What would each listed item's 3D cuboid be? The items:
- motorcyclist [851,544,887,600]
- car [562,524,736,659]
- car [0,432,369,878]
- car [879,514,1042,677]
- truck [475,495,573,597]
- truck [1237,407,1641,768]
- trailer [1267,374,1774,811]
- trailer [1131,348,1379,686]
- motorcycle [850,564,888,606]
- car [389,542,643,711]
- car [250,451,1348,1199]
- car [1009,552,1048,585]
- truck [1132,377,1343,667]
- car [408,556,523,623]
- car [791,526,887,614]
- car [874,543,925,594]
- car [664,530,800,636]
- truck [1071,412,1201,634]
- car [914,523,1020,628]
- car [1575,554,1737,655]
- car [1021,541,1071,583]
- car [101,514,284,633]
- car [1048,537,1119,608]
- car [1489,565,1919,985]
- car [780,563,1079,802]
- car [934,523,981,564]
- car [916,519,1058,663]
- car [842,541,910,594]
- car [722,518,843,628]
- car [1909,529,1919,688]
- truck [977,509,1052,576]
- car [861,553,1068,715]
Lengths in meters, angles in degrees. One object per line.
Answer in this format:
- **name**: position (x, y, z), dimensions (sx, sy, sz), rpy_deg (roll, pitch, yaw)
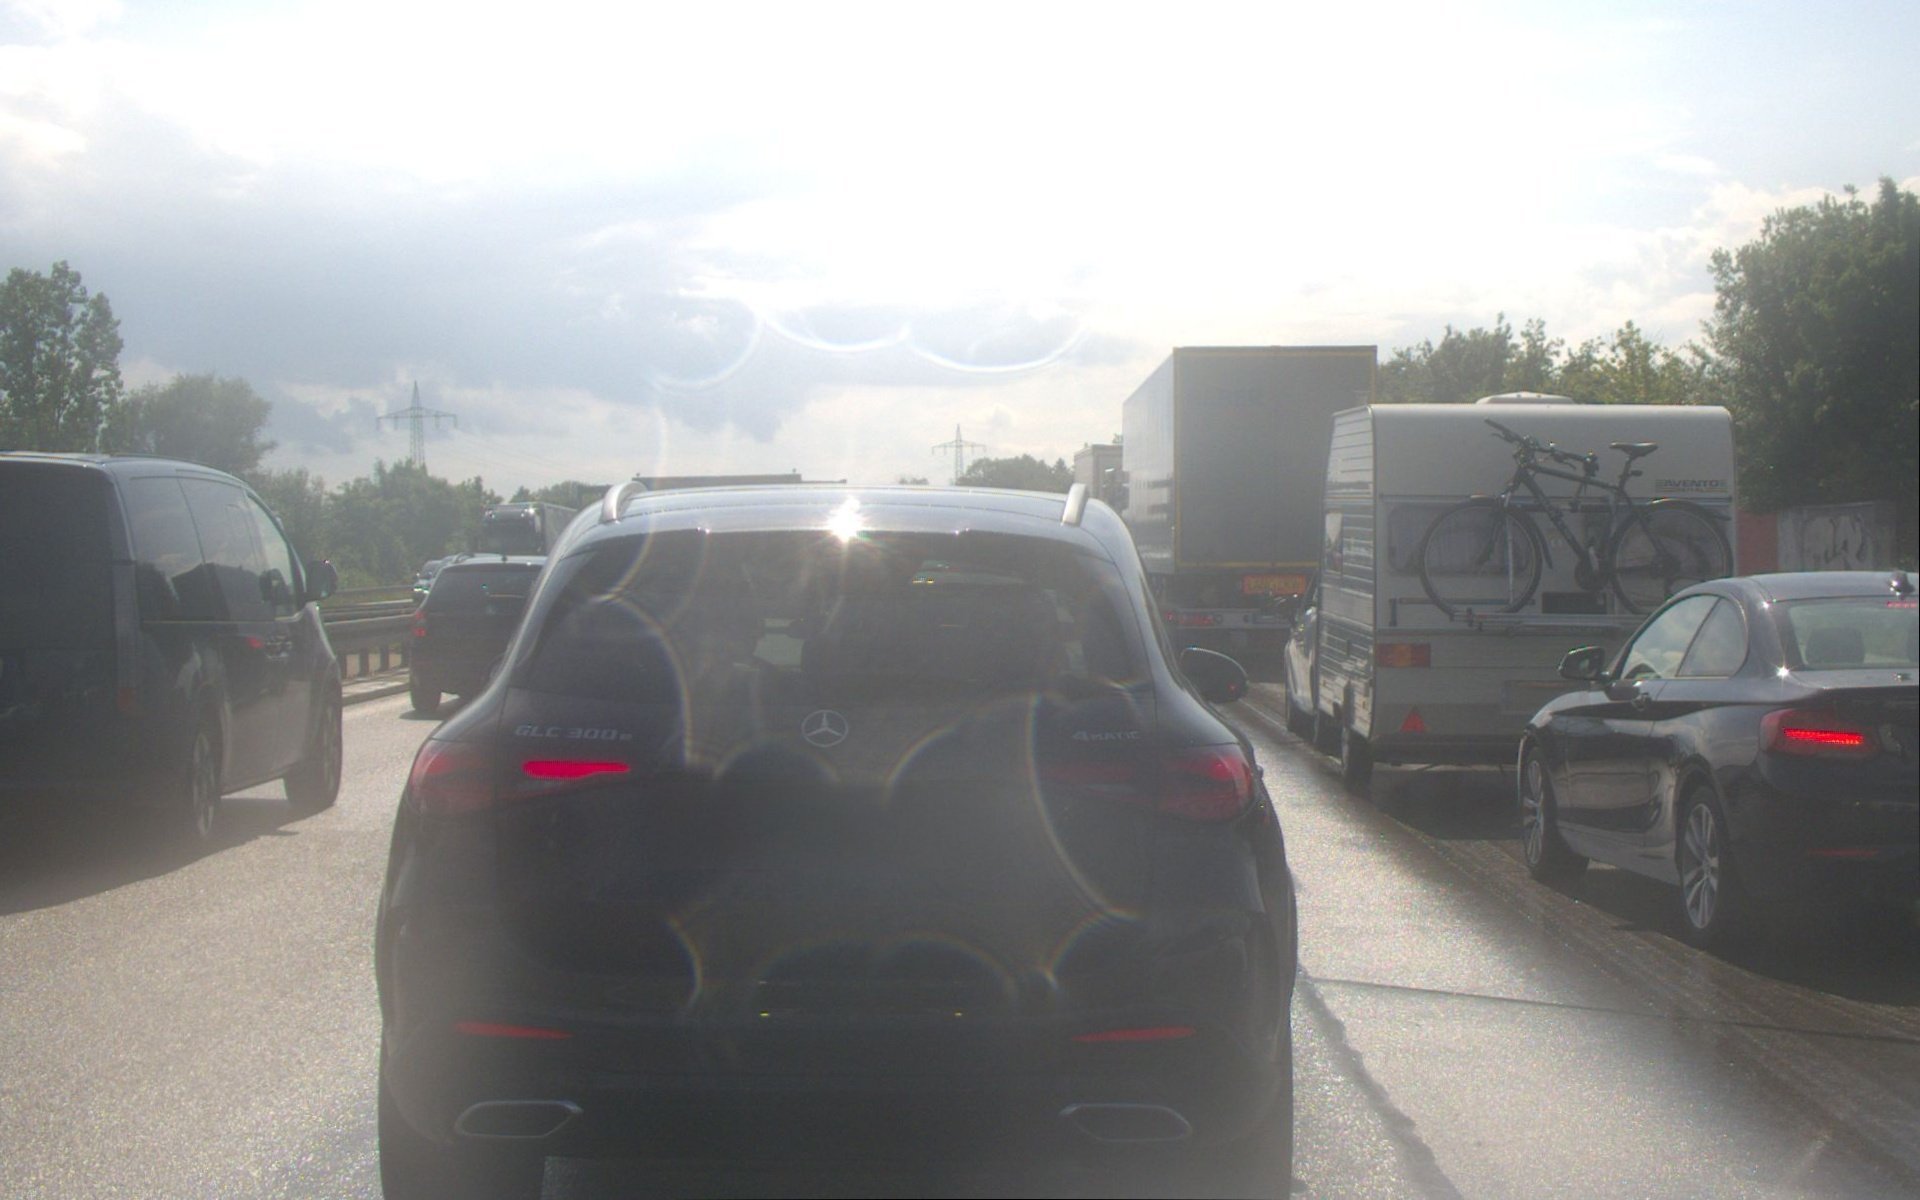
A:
- **motorcyclist**: position (-2.798, -0.870, 106.293), dimensions (1.064, 1.712, 0.785), rpy_deg (0, 0, 1)
- **car**: position (-4.124, -0.131, 46.157), dimensions (1.993, 1.714, 4.000), rpy_deg (1, 1, 0)
- **car**: position (-4.596, 0.207, 18.115), dimensions (1.993, 2.007, 5.269), rpy_deg (0, 1, 1)
- **car**: position (0.054, -0.081, 44.873), dimensions (1.993, 2.007, 4.000), rpy_deg (1, 1, 2)
- **truck**: position (-18.404, -2.269, 145.481), dimensions (3.005, 4.089, 7.686), rpy_deg (-2, 1, 1)
- **truck**: position (3.558, -0.119, 26.753), dimensions (2.374, 2.468, 5.756), rpy_deg (1, 1, 1)
- **trailer**: position (3.509, -0.077, 23.012), dimensions (2.374, 2.475, 6.523), rpy_deg (1, 1, 1)
- **trailer**: position (3.873, -1.084, 46.828), dimensions (3.007, 4.152, 8.535), rpy_deg (1, 1, 3)
- **motorcycle**: position (-2.803, -0.485, 106.208), dimensions (1.074, 1.267, 2.690), rpy_deg (0, 1, 1)
- **car**: position (-4.171, 0.200, 32.905), dimensions (1.757, 1.511, 4.208), rpy_deg (0, 1, 2)
- **car**: position (-0.267, 0.536, 8.454), dimensions (1.993, 1.656, 4.406), rpy_deg (0, 1, 1)
- **car**: position (3.751, -1.708, 188.087), dimensions (1.876, 1.754, 4.000), rpy_deg (1, 1, -2)
- **truck**: position (4.146, -1.160, 52.301), dimensions (2.995, 4.152, 5.240), rpy_deg (1, 1, 3)
- **car**: position (-11.372, -0.247, 79.359), dimensions (1.993, 1.455, 4.098), rpy_deg (2, 1, 1)
- **car**: position (-2.867, -0.729, 82.089), dimensions (1.993, 2.007, 4.000), rpy_deg (1, 1, 2)
- **car**: position (-2.567, -1.351, 145.679), dimensions (1.993, 2.007, 4.000), rpy_deg (4, 1, -1)
- **car**: position (-3.998, -0.314, 60.944), dimensions (1.993, 1.766, 4.000), rpy_deg (2, 1, 2)
- **truck**: position (3.971, -1.727, 78.905), dimensions (2.502, 4.813, 7.543), rpy_deg (1, 1, 0)
- **car**: position (0.166, -0.500, 67.810), dimensions (1.993, 2.007, 4.000), rpy_deg (0, 1, 2)
- **car**: position (11.265, 0.048, 55.847), dimensions (1.848, 1.563, 4.000), rpy_deg (1, 1, 1)
- **car**: position (3.686, -1.640, 148.109), dimensions (1.876, 1.754, 4.000), rpy_deg (1, 1, -2)
- **car**: position (-15.070, -0.574, 67.897), dimensions (1.993, 2.200, 6.980), rpy_deg (1, 1, 0)
- **car**: position (3.750, -0.858, 105.083), dimensions (1.994, 2.007, 4.000), rpy_deg (4, 1, 2)
- **car**: position (3.584, 0.594, 14.276), dimensions (1.848, 1.459, 4.256), rpy_deg (-1, 1, -4)
- **car**: position (-0.119, 0.462, 22.179), dimensions (1.757, 1.382, 3.945), rpy_deg (0, 1, 2)
- **car**: position (-0.118, -2.471, 150.643), dimensions (1.876, 1.754, 4.000), rpy_deg (1, 1, -2)
- **car**: position (0.455, -0.164, 53.118), dimensions (1.994, 2.007, 4.000), rpy_deg (4, 1, 2)
- **car**: position (-2.819, -1.098, 115.871), dimensions (1.994, 1.610, 4.000), rpy_deg (4, 1, 2)
- **car**: position (-3.513, -0.559, 68.740), dimensions (1.994, 2.007, 4.000), rpy_deg (4, 1, 2)
- **car**: position (10.656, 0.129, 33.155), dimensions (1.820, 1.615, 4.364), rpy_deg (1, 1, 1)
- **truck**: position (3.352, -3.558, 215.031), dimensions (3.842, 4.003, 11.222), rpy_deg (1, 1, -3)
- **car**: position (0.078, 0.277, 32.368), dimensions (1.806, 1.402, 4.000), rpy_deg (1, 1, 1)
